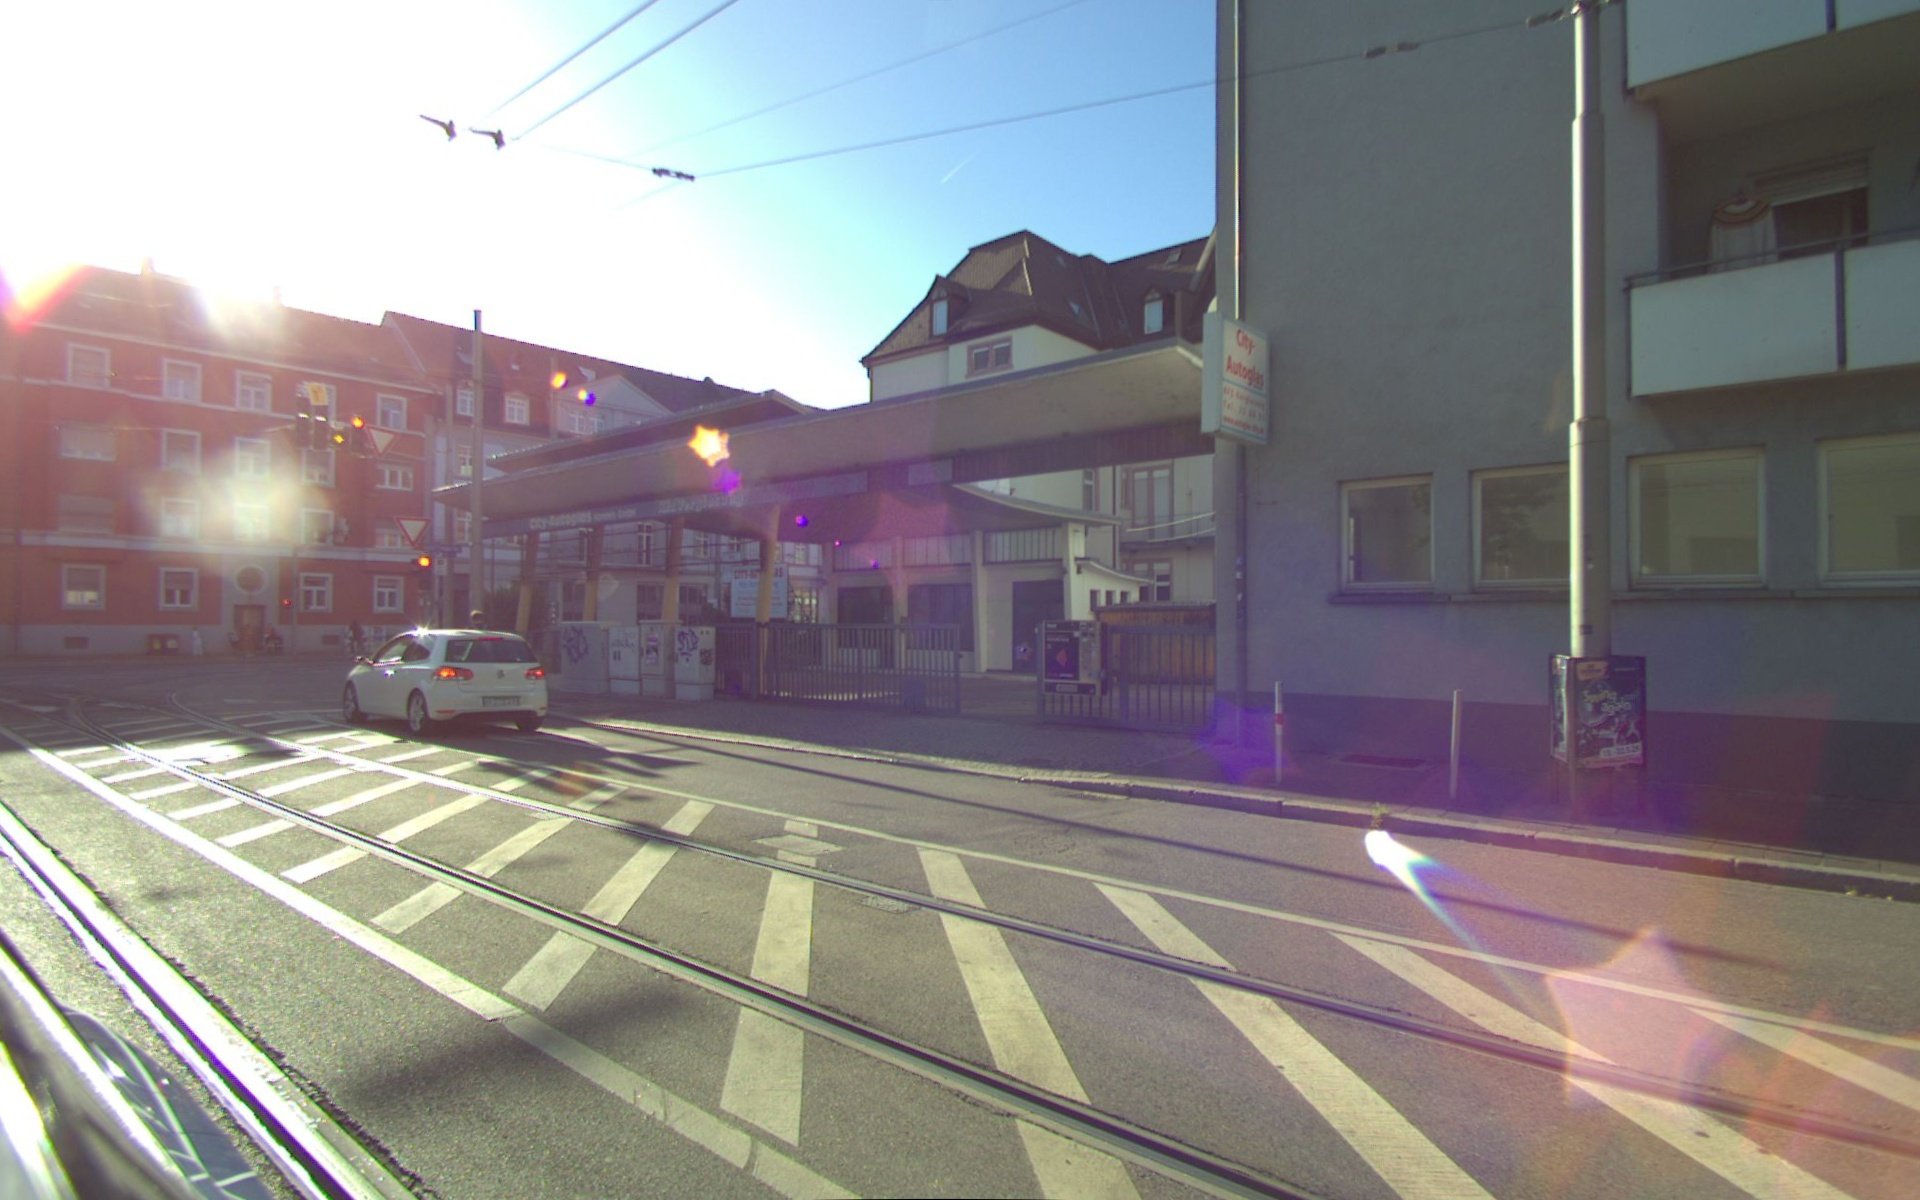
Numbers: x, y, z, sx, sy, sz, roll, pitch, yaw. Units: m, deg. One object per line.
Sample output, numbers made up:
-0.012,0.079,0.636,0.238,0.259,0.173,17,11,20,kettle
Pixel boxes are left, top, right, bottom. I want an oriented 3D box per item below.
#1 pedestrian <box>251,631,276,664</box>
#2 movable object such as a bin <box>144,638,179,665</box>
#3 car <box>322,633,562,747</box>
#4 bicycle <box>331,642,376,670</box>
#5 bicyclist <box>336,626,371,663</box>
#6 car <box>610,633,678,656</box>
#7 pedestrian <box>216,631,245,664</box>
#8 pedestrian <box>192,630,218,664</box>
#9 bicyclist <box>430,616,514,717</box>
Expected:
-35.615,2.430,51.747,0.647,1.645,0.793,0,-2,8,pedestrian
-38.425,2.458,48.680,1.215,1.259,0.874,2,-3,-44,movable object such as a bin
-7.888,1.265,15.244,4.188,1.469,1.772,-2,-4,41,car
-25.319,2.322,42.210,2.062,1.134,0.885,-1,-2,37,bicycle
-25.301,1.843,42.238,1.049,1.538,0.868,-2,-3,35,bicyclist
-20.667,2.887,66.248,1.723,1.463,3.947,-2,-3,40,car
-36.369,2.371,50.465,0.820,1.645,0.795,0,-2,2,pedestrian
-37.024,2.277,49.605,0.789,1.645,0.650,0,-2,19,pedestrian
-9.093,1.219,18.846,1.251,1.800,0.900,-2,-3,36,bicyclist
